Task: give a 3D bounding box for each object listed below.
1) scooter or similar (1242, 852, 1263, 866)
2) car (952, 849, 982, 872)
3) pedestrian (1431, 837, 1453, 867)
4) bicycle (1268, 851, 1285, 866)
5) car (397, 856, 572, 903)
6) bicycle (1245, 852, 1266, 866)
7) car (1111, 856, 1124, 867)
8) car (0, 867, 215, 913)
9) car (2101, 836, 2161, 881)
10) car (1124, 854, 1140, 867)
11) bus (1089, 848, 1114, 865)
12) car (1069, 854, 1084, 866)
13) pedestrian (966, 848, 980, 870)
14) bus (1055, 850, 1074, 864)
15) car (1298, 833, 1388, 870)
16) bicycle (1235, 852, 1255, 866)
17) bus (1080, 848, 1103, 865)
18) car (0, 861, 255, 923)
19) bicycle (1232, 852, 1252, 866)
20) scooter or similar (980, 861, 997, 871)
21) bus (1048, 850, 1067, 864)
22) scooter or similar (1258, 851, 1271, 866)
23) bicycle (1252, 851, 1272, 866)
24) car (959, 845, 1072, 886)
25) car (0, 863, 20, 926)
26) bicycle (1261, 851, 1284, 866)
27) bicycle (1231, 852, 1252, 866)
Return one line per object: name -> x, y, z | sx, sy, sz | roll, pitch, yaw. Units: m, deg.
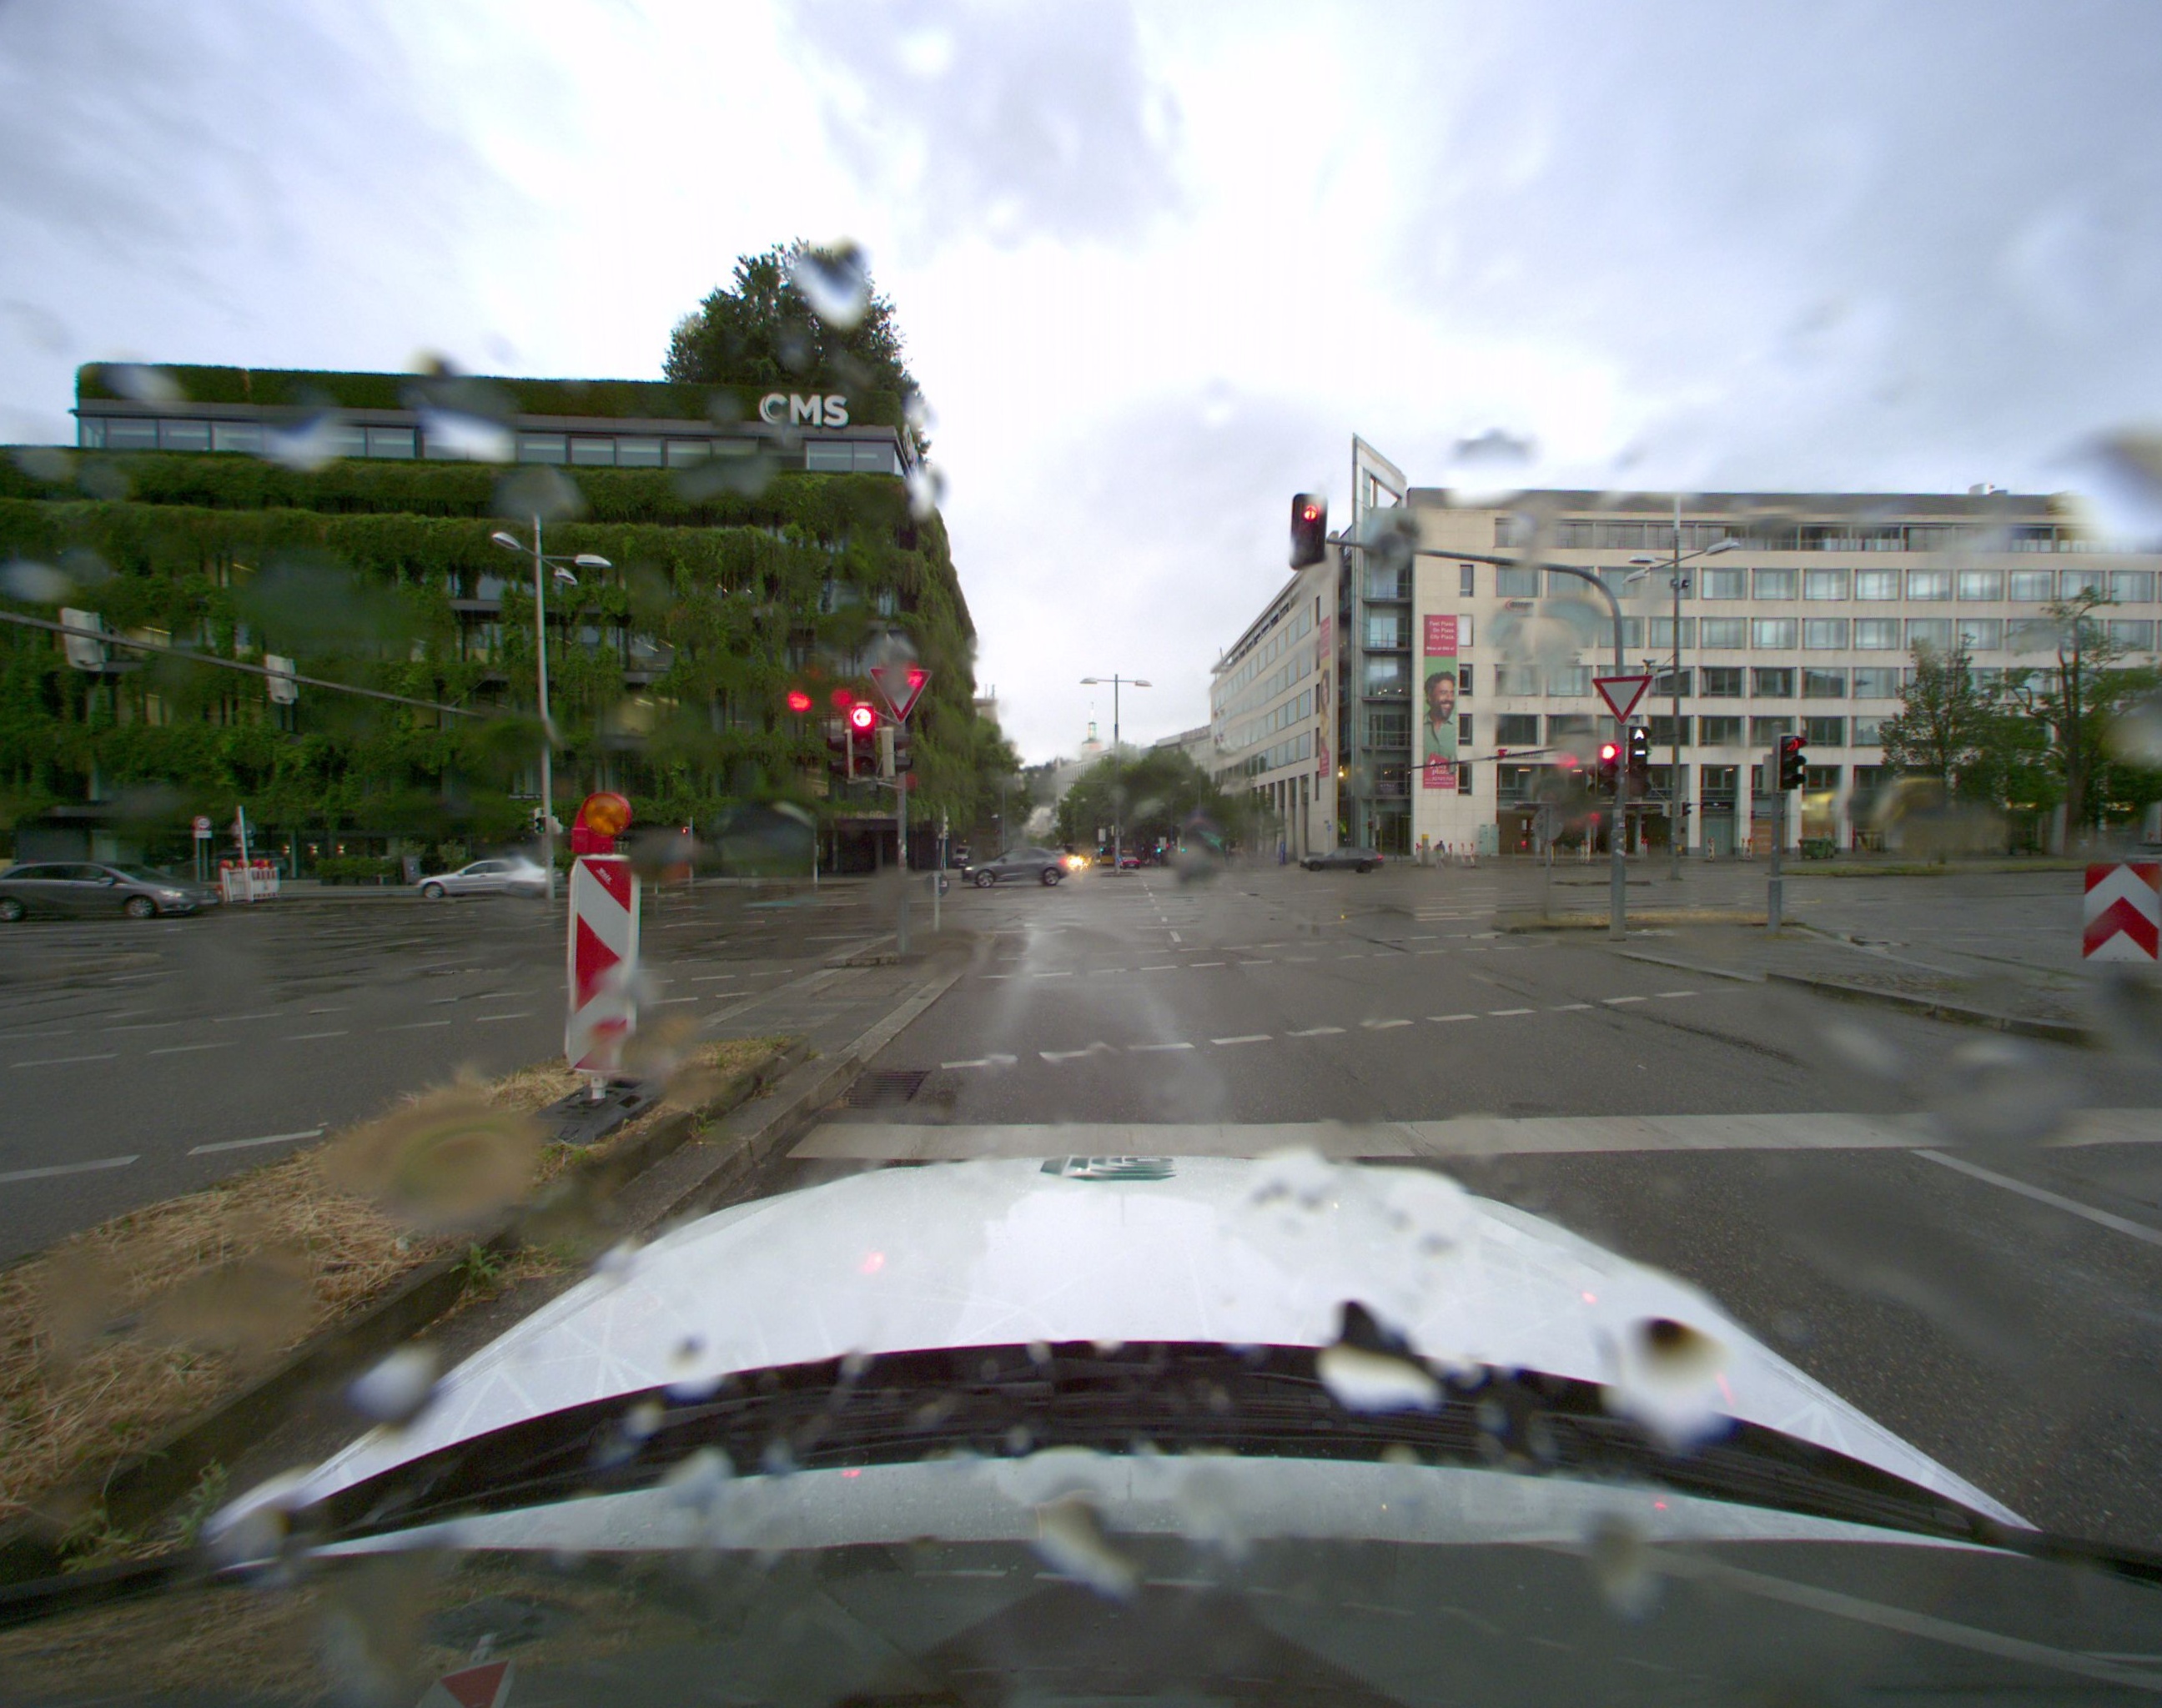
scooter or similar -> 14.907, 0.421, 70.806 | 1.770, 1.194, 0.587 | 0, -1, 3
car -> -9.559, 0.564, 68.743 | 1.863, 1.839, 4.001 | 0, -1, 2
pedestrian -> 21.862, -0.115, 49.363 | 0.958, 1.816, 0.837 | 0, -1, 1
bicycle -> 16.051, 0.380, 66.746 | 0.579, 1.194, 1.794 | -1, -1, 40
car -> -21.866, 0.905, 30.077 | 4.723, 1.476, 1.992 | 0, 4, -13
bicycle -> 15.287, 0.423, 71.420 | 1.770, 1.194, 0.587 | 0, -1, 3
car -> 4.876, 0.995, 109.604 | 1.775, 1.508, 4.001 | 0, -1, 2
car -> -33.409, 1.210, 27.851 | 4.850, 1.477, 1.992 | 0, -2, -12
car -> 37.141, 0.140, 27.535 | 3.708, 1.455, 1.739 | 0, -1, -9
car -> 5.991, 0.793, 96.610 | 1.775, 1.508, 4.001 | 0, -1, 2
bus -> 3.674, 0.401, 146.098 | 2.631, 2.995, 7.415 | -1, 0, -13
car -> -0.678, 0.875, 125.091 | 2.158, 1.765, 5.109 | -1, 0, -1
pedestrian -> -8.382, 0.380, 63.007 | 0.930, 1.644, 0.774 | 0, -1, 1
bus -> -3.550, 0.633, 173.583 | 2.631, 2.995, 7.294 | -1, 0, -13
car -> 14.744, -0.123, 46.029 | 4.627, 2.014, 1.552 | 0, -1, 7
bicycle -> 14.938, 0.448, 74.151 | 1.770, 1.194, 0.587 | 0, -1, 3
bus -> 1.982, 0.431, 153.291 | 2.631, 2.995, 7.415 | -1, 0, -13
car -> -26.122, 0.980, 22.073 | 4.901, 1.488, 1.924 | -1, 0, -15
bicycle -> 14.471, 0.444, 73.244 | 1.770, 1.194, 0.587 | 0, -1, 3
scooter or similar -> -9.430, 1.180, 82.956 | 0.616, 1.004, 1.671 | -1, 0, 40
bus -> -5.246, 0.642, 180.726 | 2.631, 2.995, 7.415 | -1, 0, -13
scooter or similar -> 14.420, 0.369, 63.989 | 0.951, 1.194, 0.458 | -1, -1, 42
bicycle -> 14.728, 0.385, 66.220 | 0.588, 1.194, 1.768 | 0, -1, -26
car -> -2.751, 0.467, 34.027 | 4.480, 1.609, 1.823 | 0, -1, -14
car -> -27.339, 0.999, 18.316 | 3.981, 1.475, 1.996 | -1, 0, -6
bicycle -> 15.201, 0.369, 64.656 | 1.607, 1.194, 0.590 | -1, -1, 27
bicycle -> 14.295, 0.440, 72.613 | 1.770, 1.194, 0.587 | 0, -1, 3
